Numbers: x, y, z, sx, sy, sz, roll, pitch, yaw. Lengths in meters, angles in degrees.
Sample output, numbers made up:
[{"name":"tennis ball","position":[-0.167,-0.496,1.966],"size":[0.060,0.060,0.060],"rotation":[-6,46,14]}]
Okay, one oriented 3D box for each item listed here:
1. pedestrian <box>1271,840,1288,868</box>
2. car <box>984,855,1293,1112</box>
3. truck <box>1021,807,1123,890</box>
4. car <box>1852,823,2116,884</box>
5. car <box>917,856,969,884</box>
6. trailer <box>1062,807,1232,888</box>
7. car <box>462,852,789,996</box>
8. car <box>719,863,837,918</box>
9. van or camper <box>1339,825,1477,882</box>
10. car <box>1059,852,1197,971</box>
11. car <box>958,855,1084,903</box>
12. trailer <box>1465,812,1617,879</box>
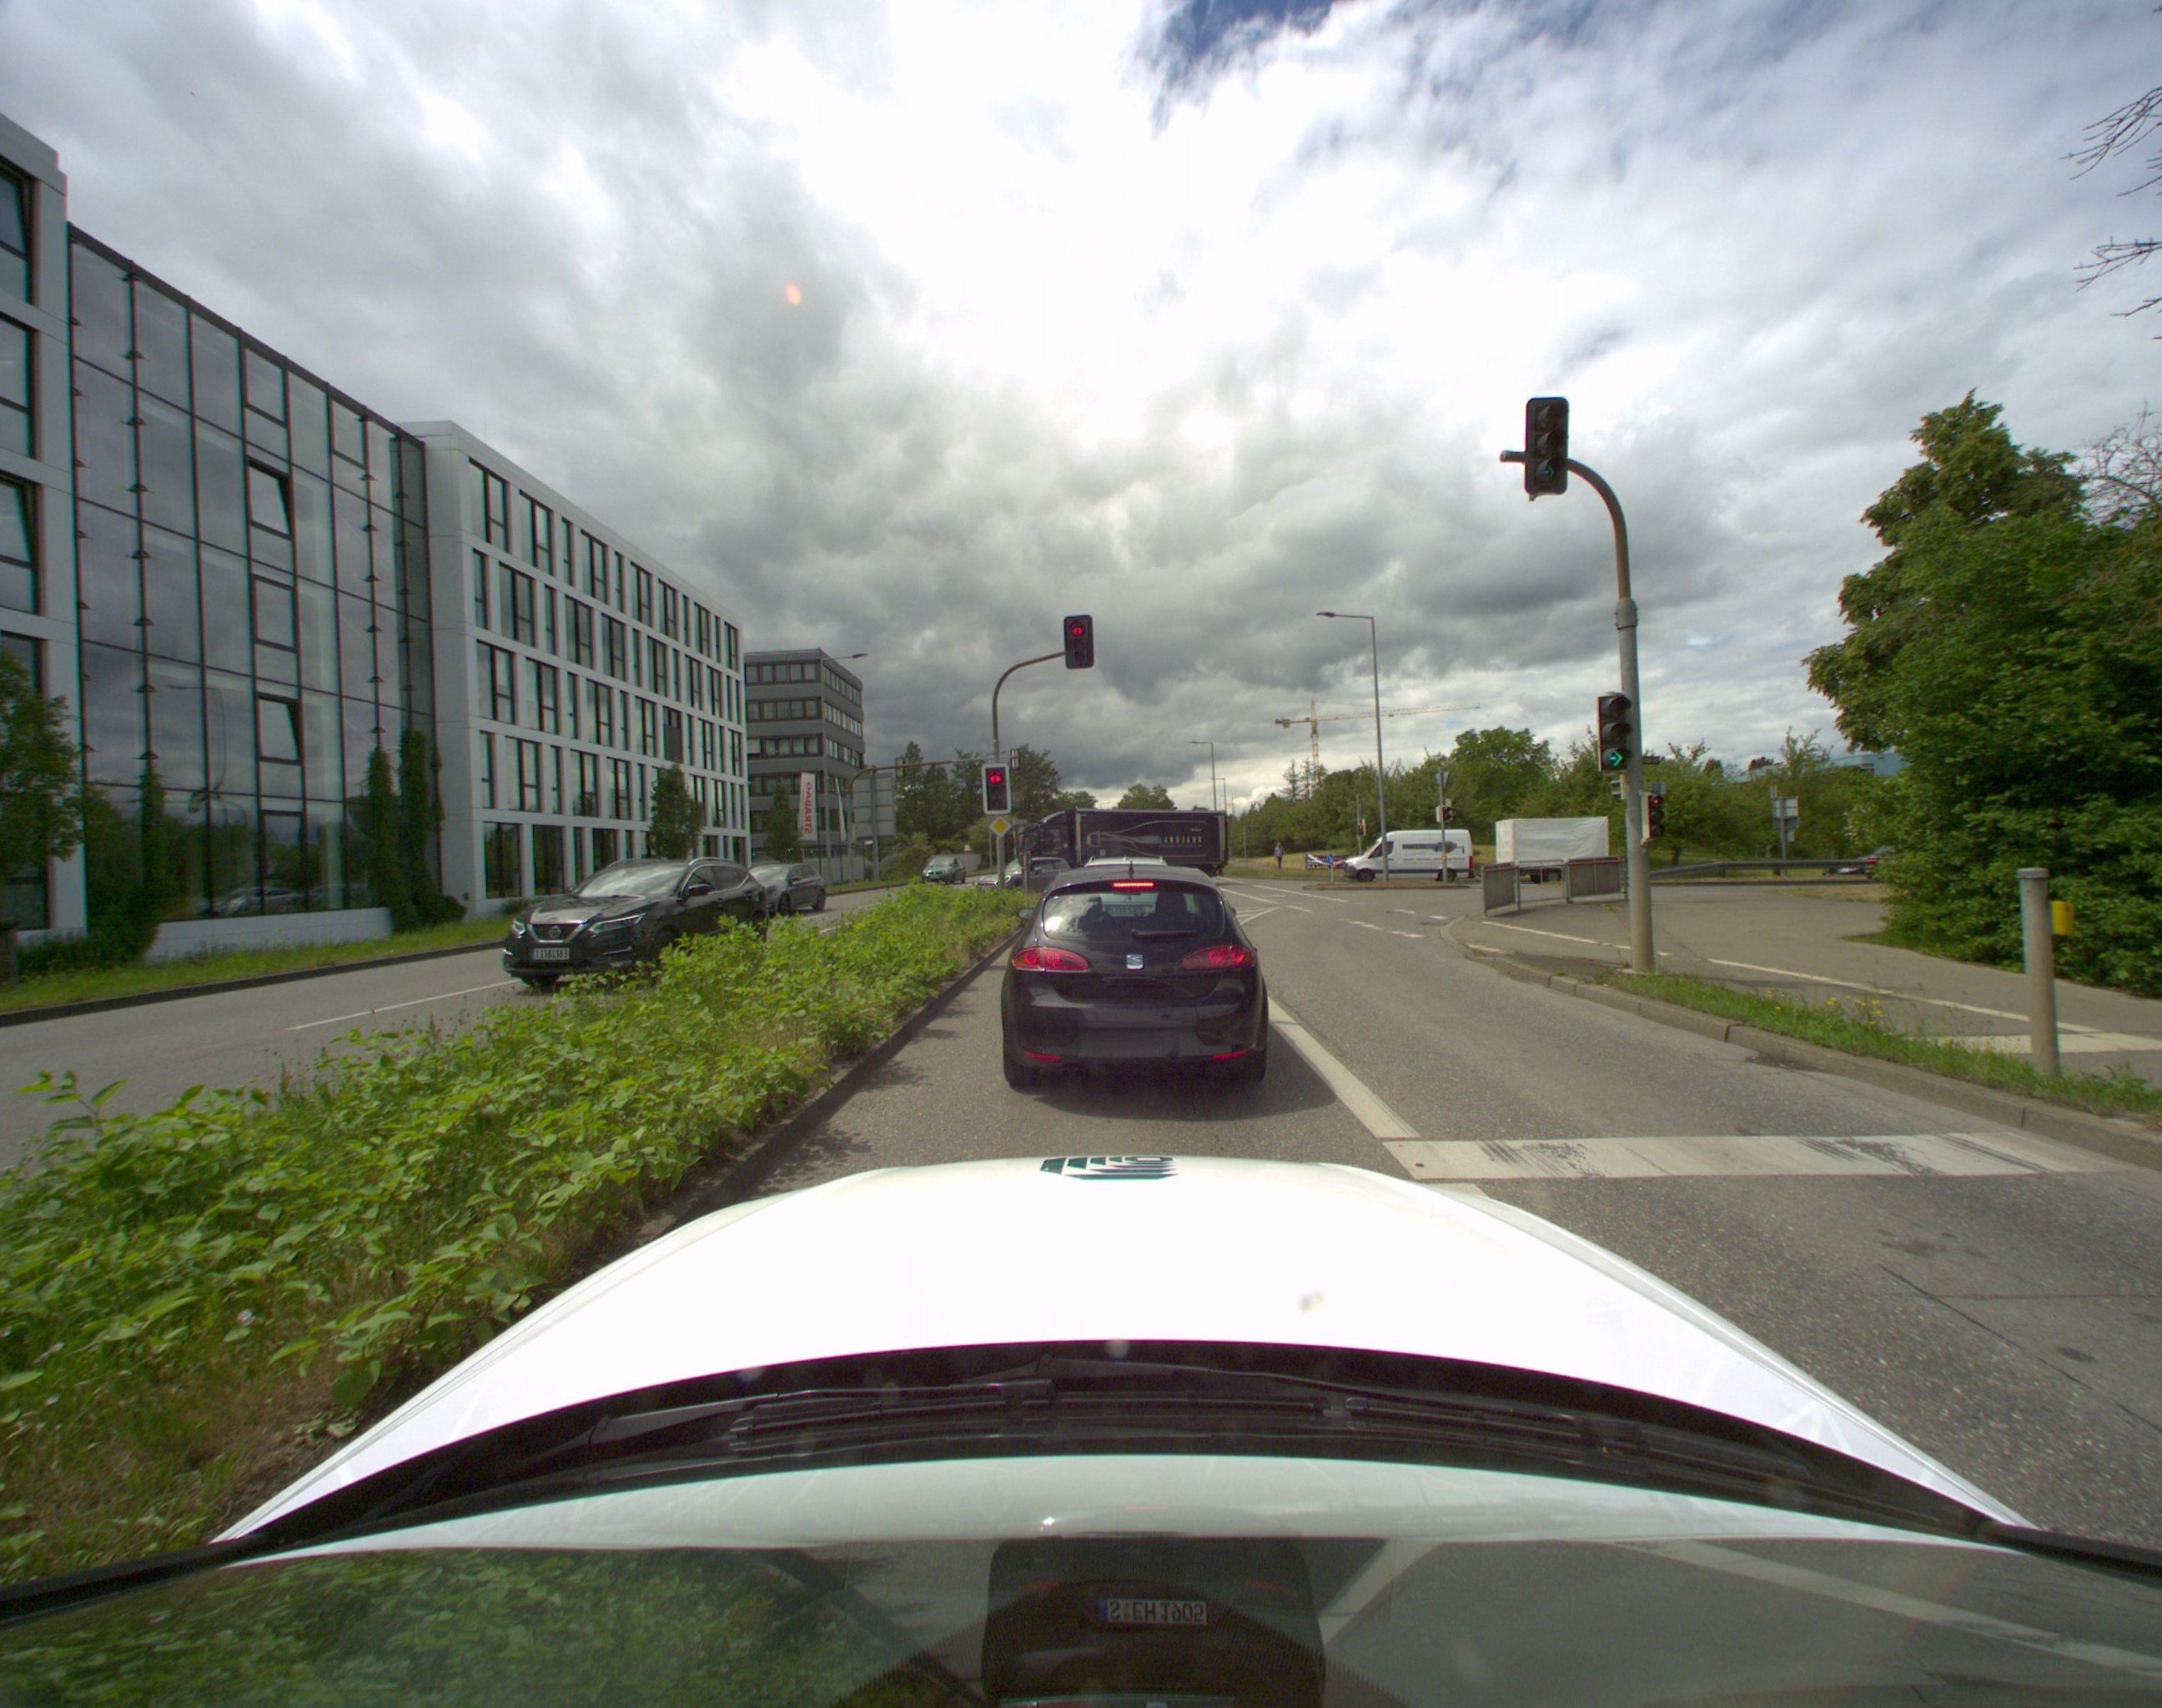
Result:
[{"name":"pedestrian","position":[12.849,0.017,52.789],"size":[0.862,1.799,0.761],"rotation":[-1,0,1]},{"name":"car","position":[0.387,0.753,6.518],"size":[1.766,1.452,3.583],"rotation":[-1,0,2]},{"name":"truck","position":[-0.413,-0.266,35.761],"size":[4.001,3.469,1.986],"rotation":[-1,0,-21]},{"name":"car","position":[26.023,-0.007,23.656],"size":[5.155,1.440,1.882],"rotation":[-3,0,7]},{"name":"car","position":[-7.312,0.824,43.515],"size":[1.986,1.352,4.002],"rotation":[-1,0,2]},{"name":"trailer","position":[3.071,-0.373,37.213],"size":[7.613,3.458,1.986],"rotation":[-1,0,-22]},{"name":"car","position":[-6.093,0.821,11.641],"size":[1.985,1.615,4.322],"rotation":[-2,0,3]},{"name":"car","position":[-8.467,0.983,23.089],"size":[1.704,1.338,3.713],"rotation":[-2,0,3]},{"name":"van or camper","position":[15.660,-0.019,39.351],"size":[5.875,2.532,2.258],"rotation":[-1,0,13]},{"name":"car","position":[0.615,0.760,12.630],"size":[1.768,1.491,3.581],"rotation":[-3,0,0]},{"name":"car","position":[-1.983,0.801,27.806],"size":[1.975,1.420,4.025],"rotation":[-1,0,42]},{"name":"trailer","position":[21.323,-0.371,38.035],"size":[5.726,2.806,2.255],"rotation":[-2,0,13]}]
